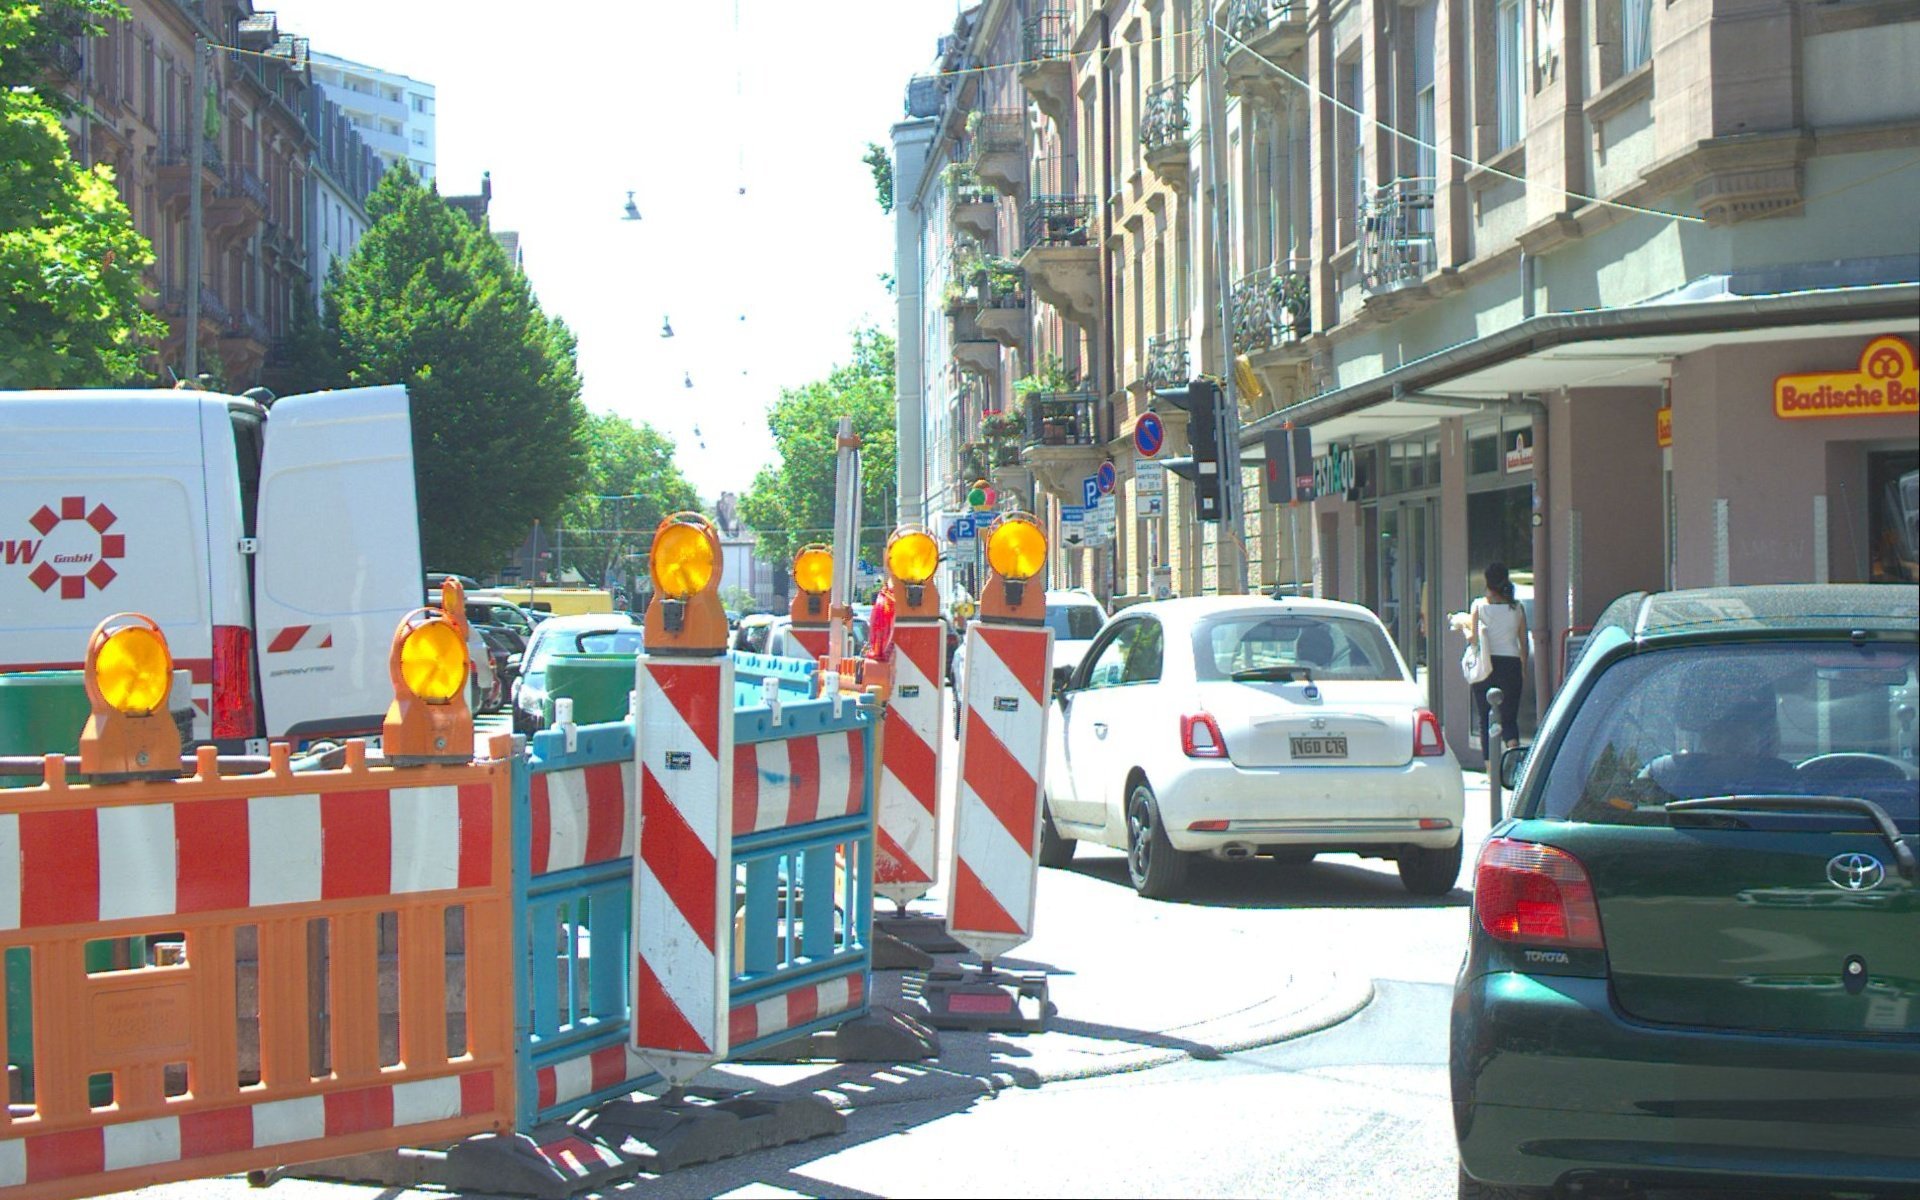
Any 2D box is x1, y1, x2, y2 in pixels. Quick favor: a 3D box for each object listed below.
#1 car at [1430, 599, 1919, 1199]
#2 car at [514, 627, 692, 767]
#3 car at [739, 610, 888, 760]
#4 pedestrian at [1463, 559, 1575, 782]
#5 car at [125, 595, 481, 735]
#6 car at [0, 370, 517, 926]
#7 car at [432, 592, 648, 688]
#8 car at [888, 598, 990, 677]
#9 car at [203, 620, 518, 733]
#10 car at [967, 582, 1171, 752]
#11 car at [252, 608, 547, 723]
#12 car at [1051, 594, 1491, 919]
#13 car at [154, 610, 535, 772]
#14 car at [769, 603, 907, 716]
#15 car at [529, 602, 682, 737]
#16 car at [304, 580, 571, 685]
[{"bbox_3d":[2.055,0.756,8.046,1.614,1.480,3.239,0,1,13],"label":"car"},{"bbox_3d":[-3.961,1.045,38.658,1.754,1.439,4.000,-1,0,-3],"label":"car"},{"bbox_3d":[-1.686,0.922,38.743,1.522,1.587,3.264,-1,0,-5],"label":"car"},{"bbox_3d":[4.116,0.511,25.366,0.641,1.618,0.804,-1,0,-3],"label":"pedestrian"},{"bbox_3d":[-8.144,0.805,42.629,3.986,1.652,1.760,1,0,-26],"label":"car"},{"bbox_3d":[-5.830,0.207,18.359,6.621,2.742,2.380,1,0,-2],"label":"car"},{"bbox_3d":[-9.792,0.914,80.210,4.557,2.180,2.000,0,0,-30],"label":"car"},{"bbox_3d":[-0.429,0.708,66.081,1.754,1.424,4.000,-1,0,-3],"label":"car"},{"bbox_3d":[-8.247,1.028,47.500,3.912,1.465,1.865,0,0,-44],"label":"car"},{"bbox_3d":[1.144,0.708,38.108,1.871,1.707,4.504,-2,0,-2],"label":"car"},{"bbox_3d":[-8.225,0.933,50.615,3.912,1.613,1.865,0,0,-43],"label":"car"},{"bbox_3d":[1.525,0.734,17.928,1.522,1.516,3.264,-1,0,-9],"label":"car"},{"bbox_3d":[-7.199,1.055,40.317,3.987,1.798,1.769,1,0,-32],"label":"car"},{"bbox_3d":[-1.955,0.905,54.033,1.993,1.612,4.000,-3,0,-3],"label":"car"},{"bbox_3d":[-4.767,0.912,46.700,1.754,1.639,4.378,-3,0,-3],"label":"car"},{"bbox_3d":[-10.262,0.615,67.639,4.773,1.987,2.053,0,0,-32],"label":"car"}]
